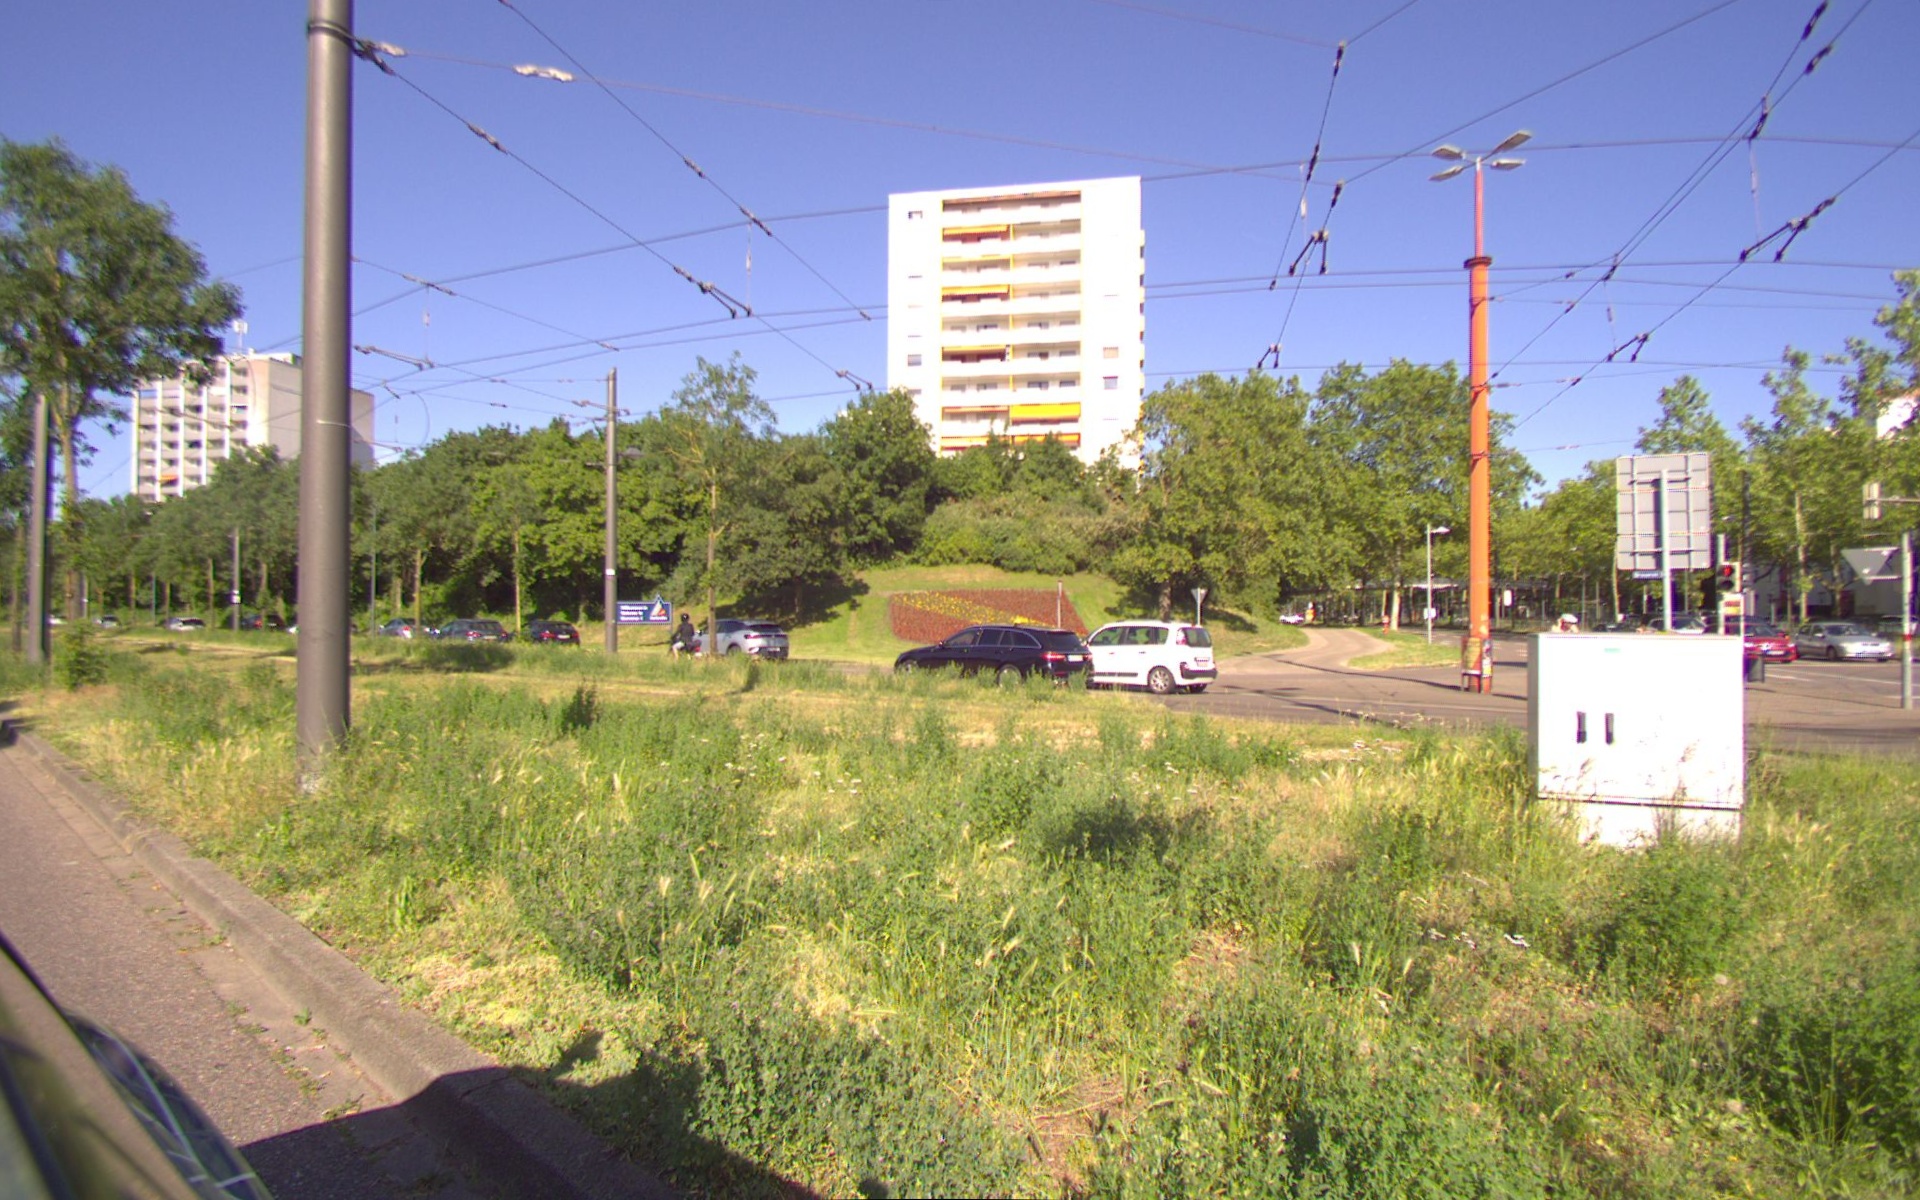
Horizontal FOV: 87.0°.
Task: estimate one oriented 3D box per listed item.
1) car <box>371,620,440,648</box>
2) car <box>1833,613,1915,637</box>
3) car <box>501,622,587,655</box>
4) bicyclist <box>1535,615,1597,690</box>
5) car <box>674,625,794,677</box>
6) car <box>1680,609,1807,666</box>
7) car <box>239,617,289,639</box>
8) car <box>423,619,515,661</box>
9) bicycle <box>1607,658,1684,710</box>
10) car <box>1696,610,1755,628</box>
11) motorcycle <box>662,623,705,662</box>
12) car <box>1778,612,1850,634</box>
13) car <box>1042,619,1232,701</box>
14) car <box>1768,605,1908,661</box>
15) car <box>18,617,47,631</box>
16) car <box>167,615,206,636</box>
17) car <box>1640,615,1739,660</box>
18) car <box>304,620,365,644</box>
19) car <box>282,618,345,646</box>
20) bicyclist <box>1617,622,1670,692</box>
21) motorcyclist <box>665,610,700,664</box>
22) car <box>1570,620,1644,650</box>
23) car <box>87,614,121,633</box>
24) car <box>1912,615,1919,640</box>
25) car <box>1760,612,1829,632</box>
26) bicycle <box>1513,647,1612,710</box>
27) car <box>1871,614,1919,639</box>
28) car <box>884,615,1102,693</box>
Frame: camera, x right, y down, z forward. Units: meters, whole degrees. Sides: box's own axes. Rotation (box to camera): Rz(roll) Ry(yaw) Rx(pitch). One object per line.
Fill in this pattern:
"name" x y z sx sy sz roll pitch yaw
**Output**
"car" -29.788 1.790 54.350 4.400 1.384 1.972 -1 0 43
"car" 65.526 1.782 72.620 1.864 1.608 4.010 0 0 -34
"car" -17.858 1.631 43.403 4.030 1.352 1.841 -1 -2 42
"bicyclist" 12.110 1.033 20.252 0.741 1.441 0.758 -1 0 -4
"car" -7.682 1.656 34.143 4.439 1.613 1.817 -1 -2 44
"car" 28.668 1.327 37.216 1.979 1.915 4.259 -1 0 11
"car" -49.503 1.960 71.943 4.631 1.492 1.972 -1 0 43
"car" -19.958 1.606 41.052 4.465 1.606 1.971 -1 -2 44
"bicycle" 13.419 1.632 19.860 0.363 0.889 1.626 -1 0 -1
"car" 71.648 1.795 94.708 1.864 1.608 4.010 0 0 -34
"motorcycle" -8.454 1.277 30.920 0.416 1.140 2.098 0 0 -41
"car" 67.064 1.790 79.514 1.864 1.608 4.010 0 0 -34
"car" 4.045 1.325 23.560 4.060 1.720 1.781 -1 -2 43
"car" 32.059 1.158 37.131 1.979 1.915 4.259 -1 0 11
"car" -97.292 2.537 106.189 4.992 1.420 1.971 -1 0 44
"car" -55.429 1.826 72.497 4.183 1.484 1.571 -1 -2 44
"car" 30.772 1.537 42.849 1.893 1.763 3.985 -1 0 11
"car" -39.222 2.001 63.421 4.693 1.443 1.972 -1 -2 42
"car" -34.870 1.691 54.539 4.642 1.433 1.685 -1 -2 42
"bicyclist" 13.390 1.112 19.839 0.540 1.333 0.700 -1 0 -2
"motorcyclist" -8.493 1.130 30.973 0.825 1.611 0.641 0 0 -41
"car" 31.611 1.709 49.558 1.718 1.332 3.985 -1 0 11
"car" -74.410 2.074 87.988 3.757 1.620 1.744 -1 -2 42
"car" 64.135 1.771 65.014 1.864 1.608 4.010 0 0 -34
"car" 68.290 1.789 82.838 1.864 1.608 4.010 0 0 -34
"bicycle" 12.103 1.541 20.434 0.467 1.089 2.362 -1 0 -3
"car" 64.816 1.776 68.720 1.864 1.608 4.010 0 0 -34
"car" 0.629 1.090 21.931 4.603 1.496 1.856 -1 0 41
